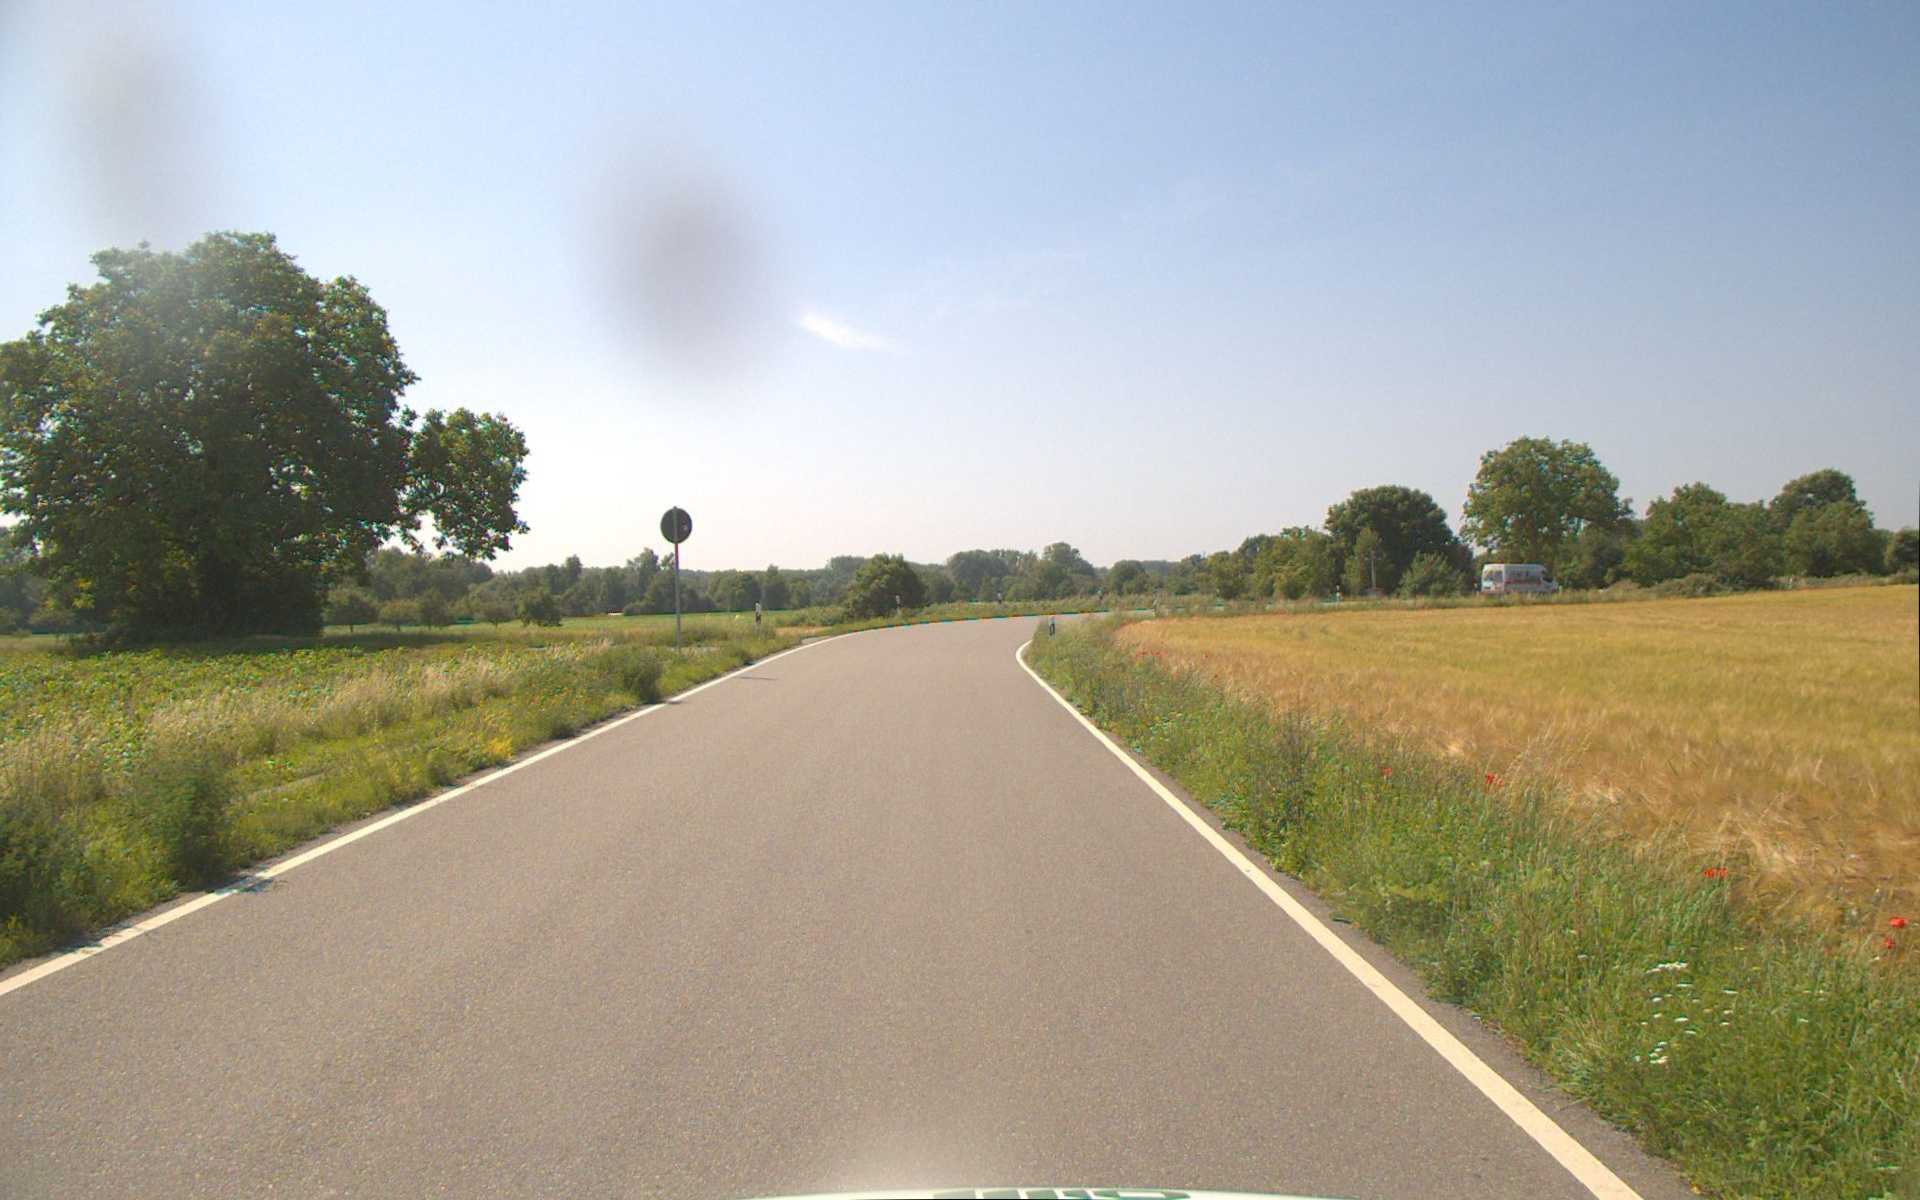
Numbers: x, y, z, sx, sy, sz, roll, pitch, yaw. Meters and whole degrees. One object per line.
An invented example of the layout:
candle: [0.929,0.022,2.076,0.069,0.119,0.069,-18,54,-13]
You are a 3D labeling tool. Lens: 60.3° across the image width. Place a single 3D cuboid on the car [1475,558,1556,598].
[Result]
car: [37.133,-1.472,110.468,5.617,2.408,2.087,-2,0,-33]
